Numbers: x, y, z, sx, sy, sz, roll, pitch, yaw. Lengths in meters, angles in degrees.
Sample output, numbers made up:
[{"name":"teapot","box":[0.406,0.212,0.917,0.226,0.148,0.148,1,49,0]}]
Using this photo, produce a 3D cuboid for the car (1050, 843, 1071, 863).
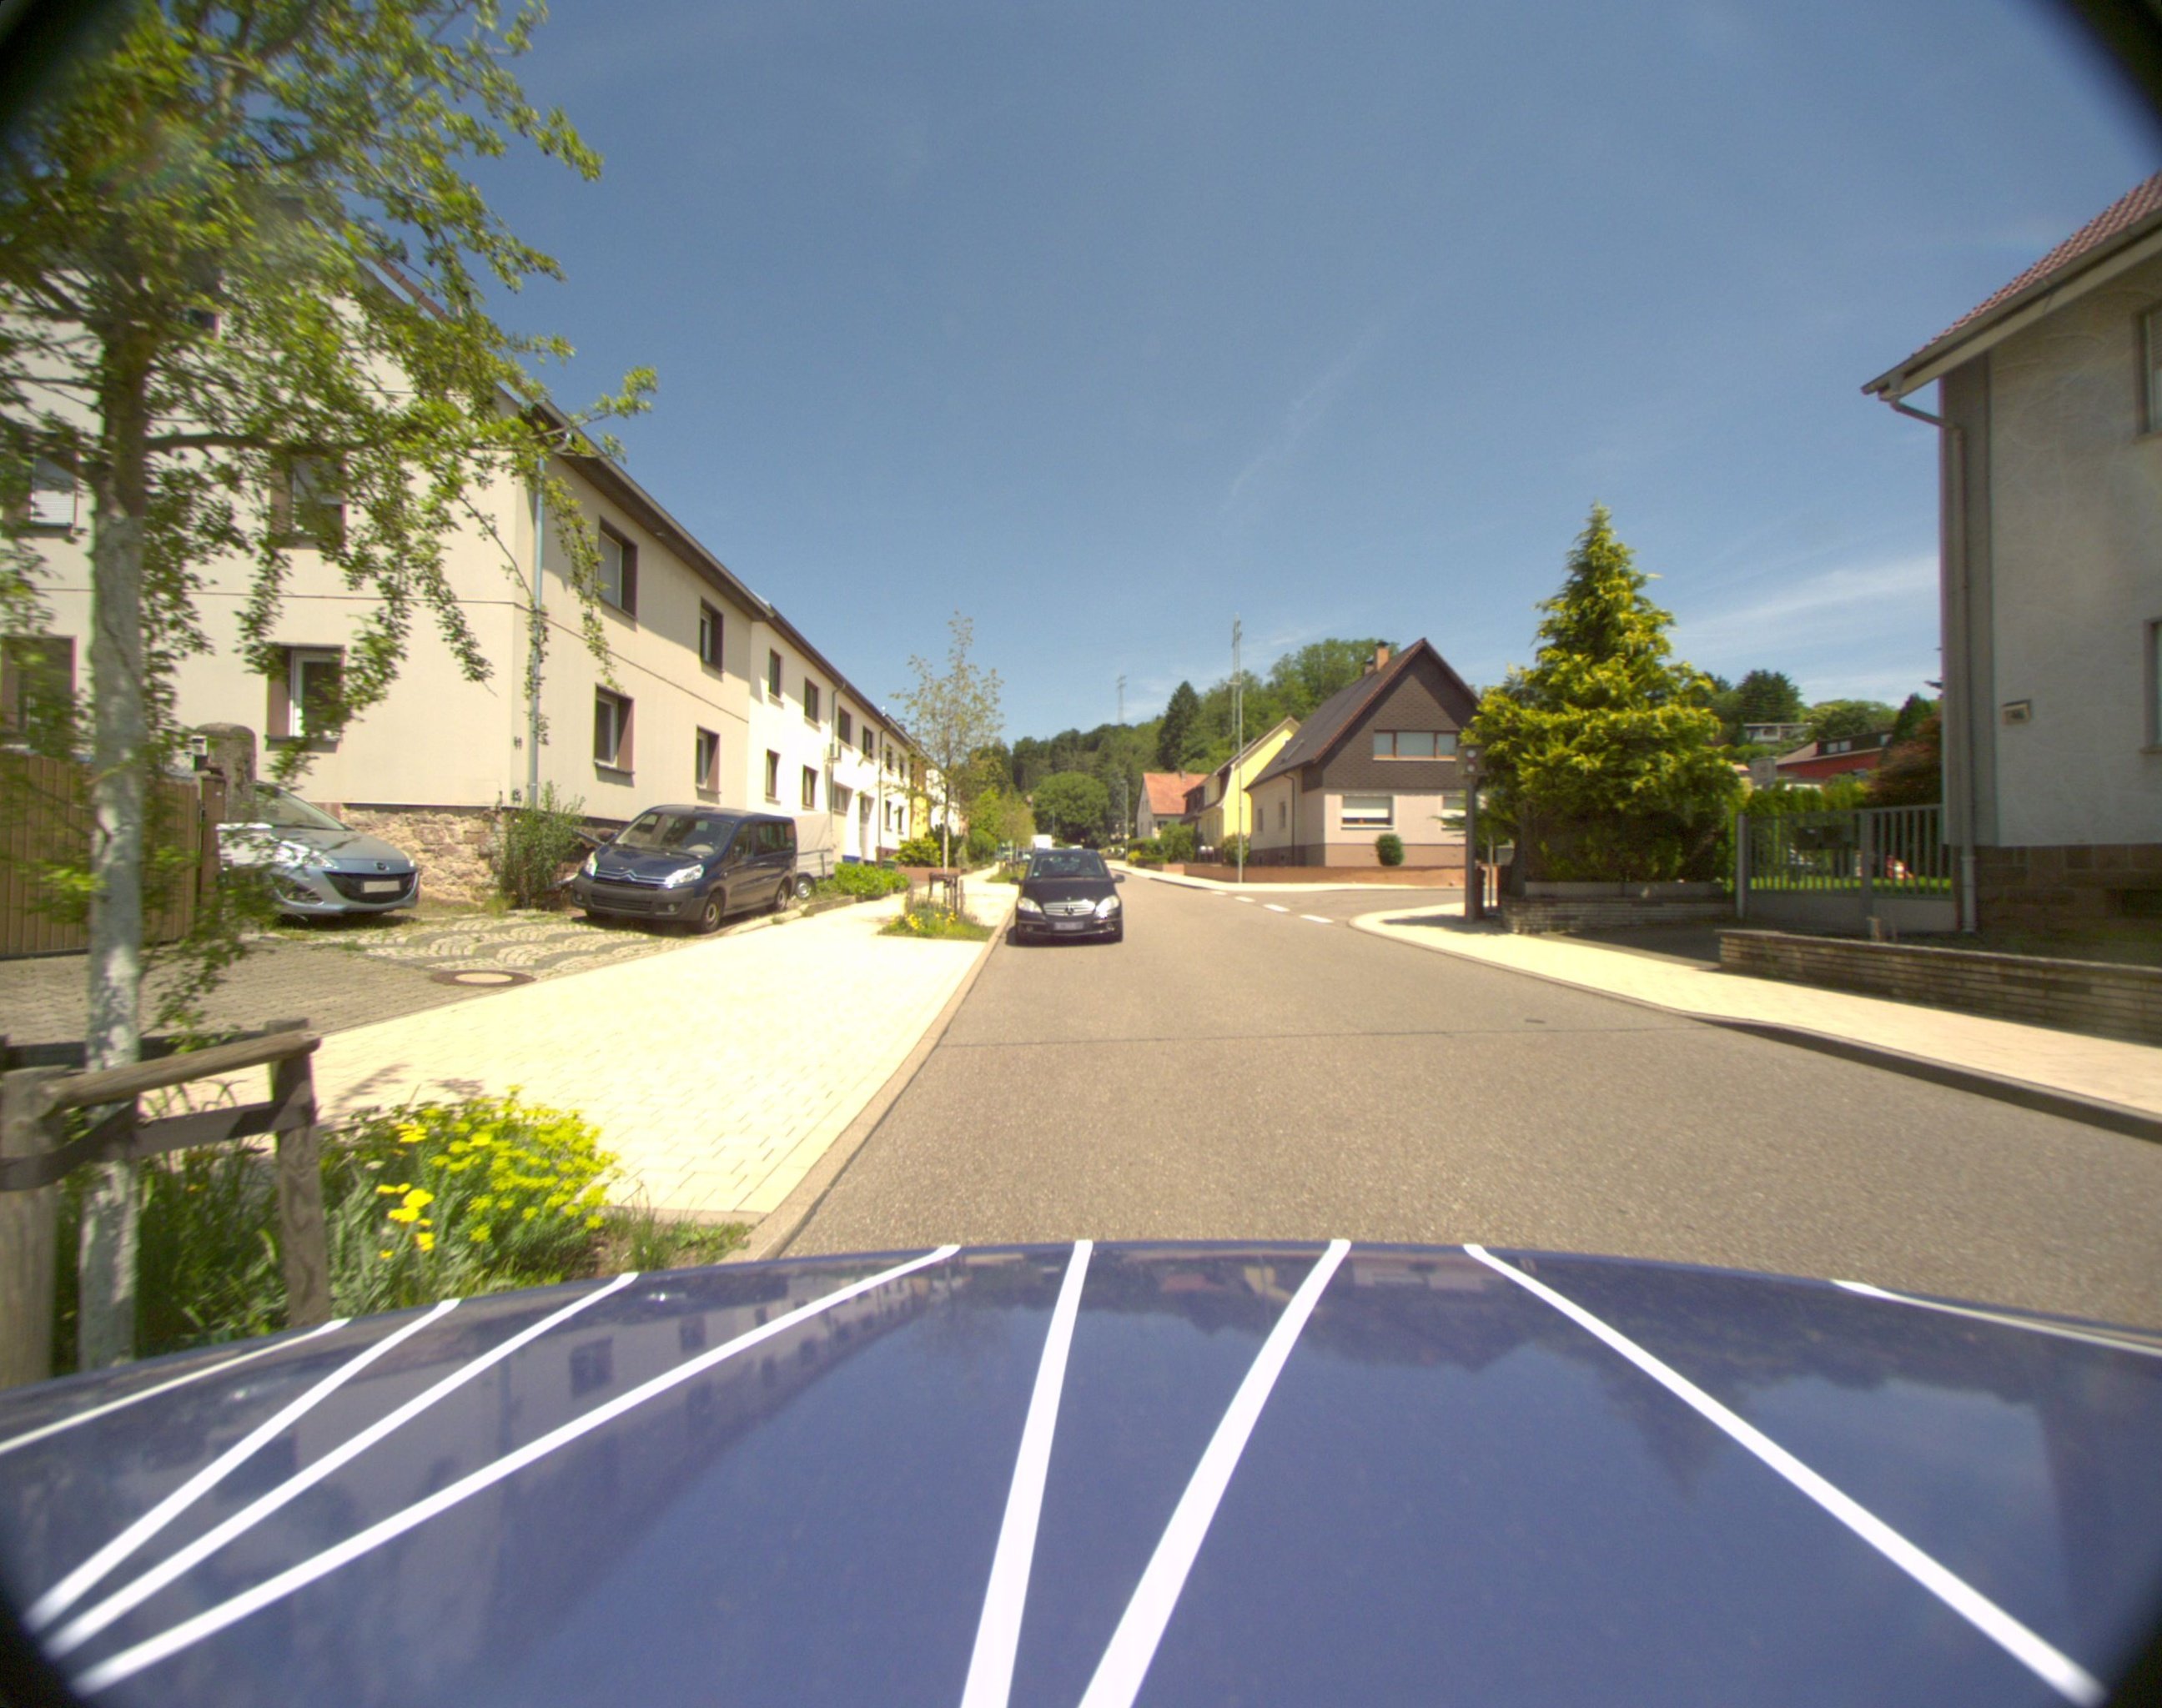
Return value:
[{"name":"car","box":[-2.035,-0.102,74.325,1.968,1.823,4.463,1,0,-2]}]

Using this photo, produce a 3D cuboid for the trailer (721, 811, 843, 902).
[{"name":"trailer","box":[-7.024,0.038,17.934,1.320,2.002,2.278,0,1,40]}]

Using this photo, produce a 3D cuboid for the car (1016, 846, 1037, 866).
[{"name":"car","box":[-5.180,0.134,72.041,1.860,1.832,4.667,1,1,-5]}]

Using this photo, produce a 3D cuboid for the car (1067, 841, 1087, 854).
[{"name":"car","box":[-0.682,-0.942,114.101,1.706,1.938,3.992,-2,1,-21]}]

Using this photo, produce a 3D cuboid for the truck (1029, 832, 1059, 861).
[{"name":"truck","box":[-4.746,-0.934,95.236,2.808,3.394,8.112,-1,0,-9]}]

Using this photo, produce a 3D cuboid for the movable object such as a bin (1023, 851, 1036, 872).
[{"name":"movable object such as a bin","box":[-3.488,0.479,51.423,0.794,1.387,0.925,-1,1,-5]}]

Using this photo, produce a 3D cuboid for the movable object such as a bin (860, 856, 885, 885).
[{"name":"movable object such as a bin","box":[-7.435,0.582,27.105,0.559,0.980,0.803,4,1,4]}]

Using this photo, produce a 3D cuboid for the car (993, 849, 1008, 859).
[{"name":"car","box":[-11.240,-0.022,105.902,1.676,1.368,3.996,1,0,-10]}]

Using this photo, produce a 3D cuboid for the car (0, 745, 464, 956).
[{"name":"car","box":[-9.552,-0.090,8.257,3.998,1.755,1.891,6,1,-1]}]

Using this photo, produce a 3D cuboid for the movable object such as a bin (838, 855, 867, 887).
[{"name":"movable object such as a bin","box":[-8.128,0.595,27.092,0.686,1.100,0.863,3,1,4]}]

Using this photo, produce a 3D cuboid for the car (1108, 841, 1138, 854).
[{"name":"car","box":[6.166,-0.983,111.731,4.005,1.779,1.807,-2,1,-25]}]

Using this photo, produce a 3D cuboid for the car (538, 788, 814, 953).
[{"name":"car","box":[-6.370,0.206,12.762,1.857,1.959,4.772,10,0,-1]}]

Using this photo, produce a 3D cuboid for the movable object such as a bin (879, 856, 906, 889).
[{"name":"movable object such as a bin","box":[-6.750,0.646,27.258,0.685,1.109,0.812,3,1,3]}]

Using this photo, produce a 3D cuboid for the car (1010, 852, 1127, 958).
[{"name":"car","box":[-0.201,0.794,13.929,1.790,1.595,4.074,-1,0,0]}]
